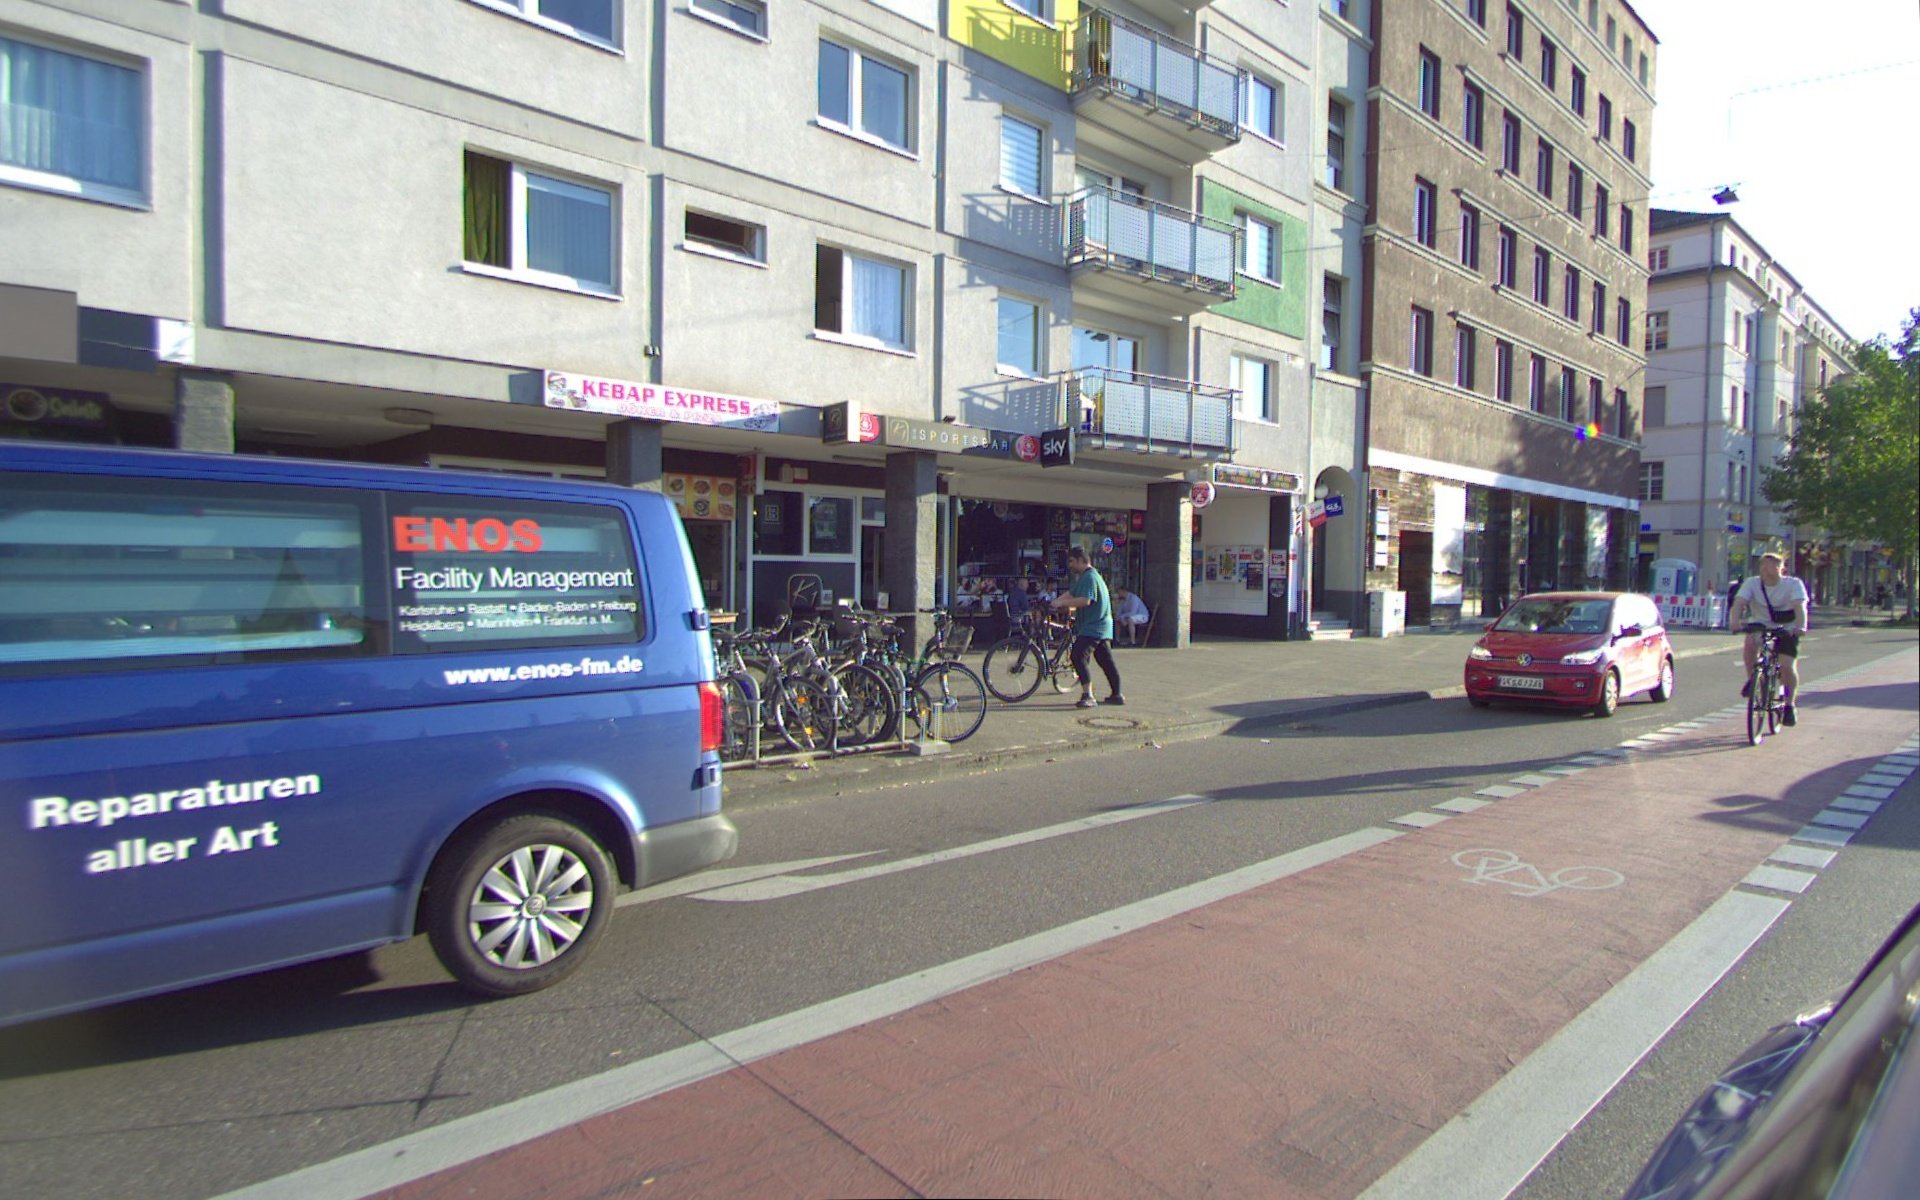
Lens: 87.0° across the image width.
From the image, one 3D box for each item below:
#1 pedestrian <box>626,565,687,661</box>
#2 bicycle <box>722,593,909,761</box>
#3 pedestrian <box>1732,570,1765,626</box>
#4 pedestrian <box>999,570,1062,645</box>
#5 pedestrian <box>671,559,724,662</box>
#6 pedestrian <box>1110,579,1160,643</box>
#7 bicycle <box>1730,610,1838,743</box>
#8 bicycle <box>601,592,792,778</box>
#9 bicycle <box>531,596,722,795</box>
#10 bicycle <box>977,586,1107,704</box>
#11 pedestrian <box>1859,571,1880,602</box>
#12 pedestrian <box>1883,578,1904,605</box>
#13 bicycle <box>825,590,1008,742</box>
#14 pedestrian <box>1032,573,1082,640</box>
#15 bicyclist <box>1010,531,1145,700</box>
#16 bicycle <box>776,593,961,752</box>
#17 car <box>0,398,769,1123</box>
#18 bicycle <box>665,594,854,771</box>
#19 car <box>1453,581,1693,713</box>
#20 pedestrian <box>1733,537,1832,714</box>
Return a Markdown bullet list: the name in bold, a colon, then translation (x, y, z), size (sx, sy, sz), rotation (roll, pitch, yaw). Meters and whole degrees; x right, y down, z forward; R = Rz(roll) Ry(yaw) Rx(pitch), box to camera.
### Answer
- **pedestrian**: translation (-4.215, 0.168, 14.101), size (0.634, 1.289, 0.861), rotation (0, 1, -3)
- **bicycle**: translation (-1.264, 0.580, 8.537), size (0.558, 1.139, 1.870), rotation (0, 4, -43)
- **pedestrian**: translation (23.201, -0.077, 29.782), size (0.869, 1.616, 0.602), rotation (0, 1, -41)
- **pedestrian**: translation (1.282, 0.119, 18.322), size (0.937, 1.311, 0.646), rotation (0, 1, -38)
- **pedestrian**: translation (-3.585, 0.127, 13.857), size (0.457, 1.375, 0.629), rotation (1, 1, 13)
- **pedestrian**: translation (3.301, 0.188, 19.062), size (0.715, 1.166, 0.605), rotation (0, 1, -41)
- **bicycle**: translation (8.186, 0.705, 10.029), size (1.817, 1.173, 0.529), rotation (-1, 1, -41)
- **bicycle**: translation (-2.066, 0.574, 7.744), size (0.558, 1.139, 1.870), rotation (0, 4, -43)
- **bicycle**: translation (-2.471, 0.612, 7.356), size (0.558, 1.139, 1.870), rotation (0, 4, -43)
- **bicycle**: translation (0.979, 0.467, 11.679), size (0.565, 1.191, 1.849), rotation (5, 4, 36)
- **pedestrian**: translation (50.312, -0.758, 55.984), size (0.908, 1.697, 0.727), rotation (0, 1, -42)
- **pedestrian**: translation (50.767, -0.478, 55.029), size (0.908, 1.457, 0.727), rotation (0, 1, -42)
- **bicycle**: translation (-0.448, 0.543, 9.312), size (0.558, 1.139, 1.870), rotation (0, 4, -43)
- **pedestrian**: translation (1.872, 0.114, 19.512), size (0.635, 1.246, 0.727), rotation (0, 1, -39)
- **bicyclist**: translation (1.305, 0.166, 11.393), size (1.358, 1.830, 0.745), rotation (0, 1, -6)
- **bicycle**: translation (-0.858, 0.573, 8.927), size (0.558, 1.139, 1.870), rotation (0, 4, -43)
- **car**: translation (-3.229, 0.406, 3.448), size (4.748, 1.957, 1.940), rotation (-1, 2, -41)
- **bicycle**: translation (-1.658, 0.587, 8.136), size (0.558, 1.139, 1.870), rotation (0, 4, -43)
- **car**: translation (8.106, 0.511, 13.283), size (3.477, 1.499, 1.686), rotation (-1, 0, -40)
- **pedestrian**: translation (8.189, 0.230, 10.075), size (0.828, 1.669, 0.639), rotation (0, 0, -41)
